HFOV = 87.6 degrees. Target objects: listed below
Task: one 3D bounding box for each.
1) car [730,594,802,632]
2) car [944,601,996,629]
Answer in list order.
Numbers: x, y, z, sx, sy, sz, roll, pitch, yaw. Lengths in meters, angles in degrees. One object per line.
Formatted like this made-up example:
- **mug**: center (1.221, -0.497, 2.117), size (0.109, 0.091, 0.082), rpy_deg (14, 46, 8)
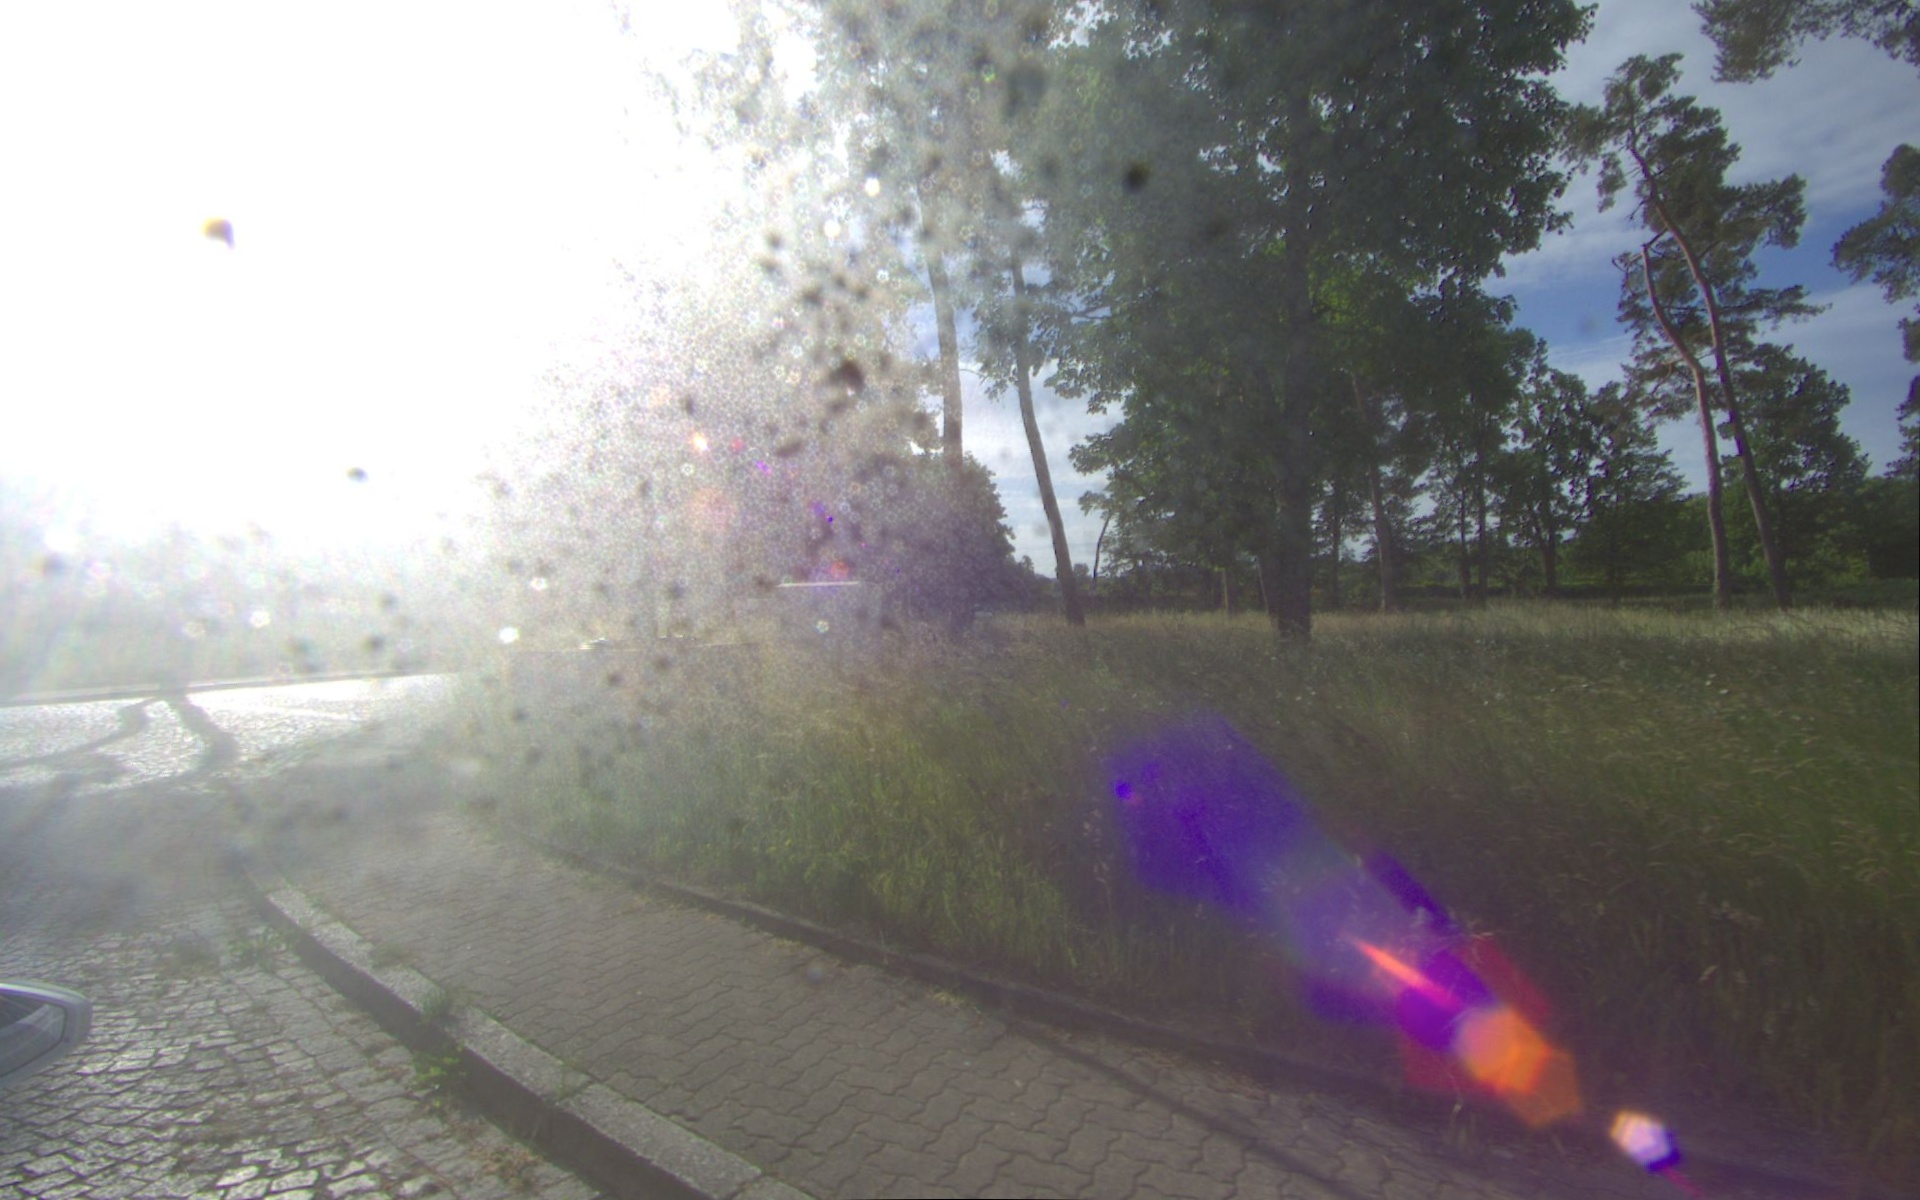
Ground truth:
- **car**: center (-13.565, 0.895, 70.352), size (2.230, 2.569, 5.153), rpy_deg (-1, -1, 29)
- **car**: center (0.684, 0.953, 63.388), size (1.827, 1.701, 3.931), rpy_deg (-1, -1, 25)
